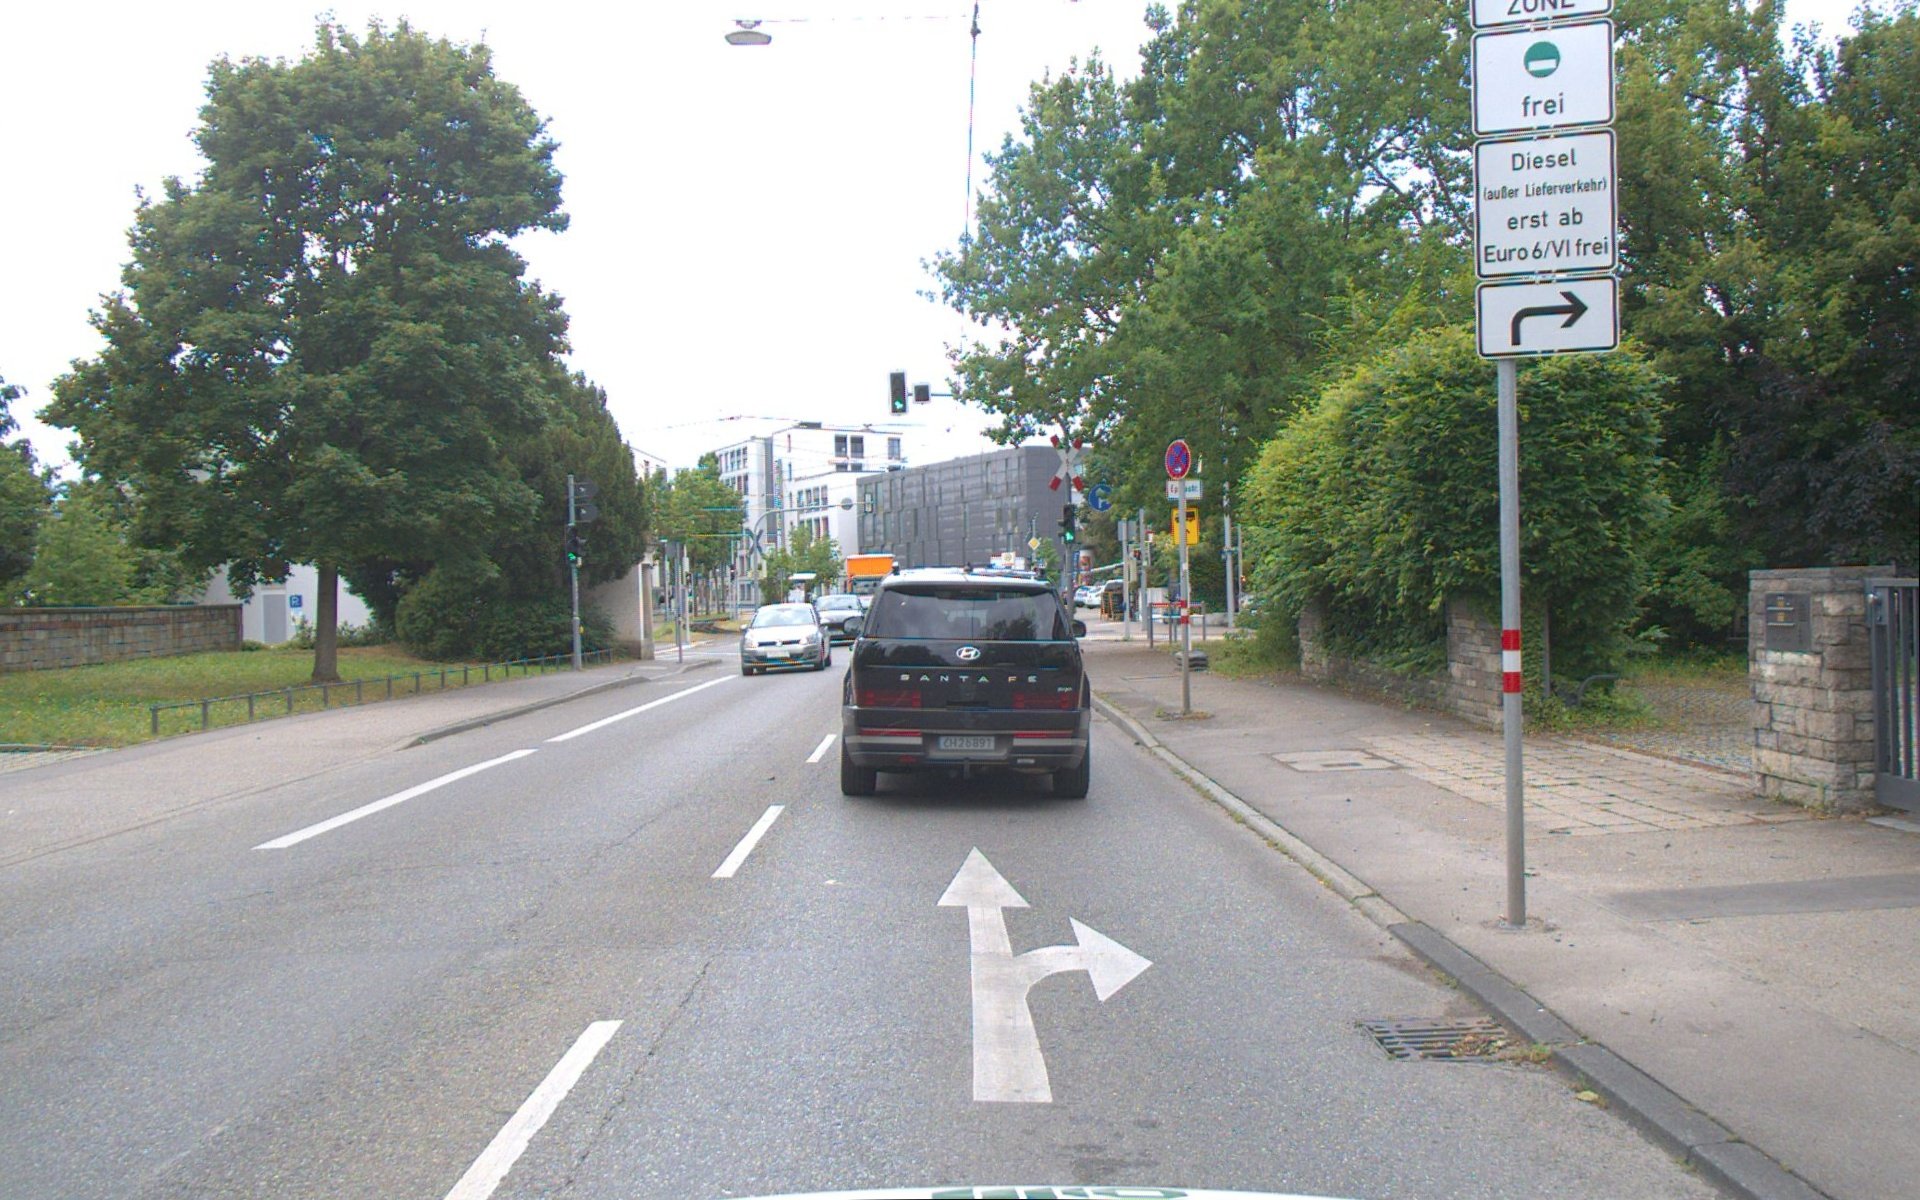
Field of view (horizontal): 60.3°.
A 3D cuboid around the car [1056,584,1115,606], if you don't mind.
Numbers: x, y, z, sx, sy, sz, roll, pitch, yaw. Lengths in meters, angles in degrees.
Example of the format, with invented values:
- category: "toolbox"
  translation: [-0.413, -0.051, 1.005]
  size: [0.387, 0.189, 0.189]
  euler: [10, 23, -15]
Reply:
- category: "car"
  translation: [8.770, -0.349, 115.544]
  size: [3.744, 1.499, 1.783]
  euler: [0, -1, -26]

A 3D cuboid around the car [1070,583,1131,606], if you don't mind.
- category: "car"
  translation: [9.331, -0.365, 110.151]
  size: [3.752, 1.499, 1.779]
  euler: [0, -1, -31]

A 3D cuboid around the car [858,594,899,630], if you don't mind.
- category: "car"
  translation: [-3.483, 0.484, 71.283]
  size: [1.630, 1.474, 3.826]
  euler: [-2, 0, -1]

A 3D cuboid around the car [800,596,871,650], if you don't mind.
- category: "car"
  translation: [-4.034, 0.724, 54.221]
  size: [1.900, 1.558, 4.526]
  euler: [-4, 0, -1]

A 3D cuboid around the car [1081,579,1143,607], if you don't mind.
- category: "car"
  translation: [9.579, -0.440, 104.096]
  size: [3.597, 1.460, 1.577]
  euler: [-4, 0, -28]

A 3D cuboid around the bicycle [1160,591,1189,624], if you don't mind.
- category: "bicycle"
  translation: [8.576, 0.293, 66.107]
  size: [0.538, 1.158, 1.873]
  euler: [-1, 4, -13]

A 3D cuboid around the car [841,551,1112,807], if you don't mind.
- category: "car"
  translation: [0.019, 0.524, 13.518]
  size: [1.877, 1.755, 4.168]
  euler: [0, 0, -3]

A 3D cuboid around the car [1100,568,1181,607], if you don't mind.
- category: "car"
  translation: [8.992, -0.628, 82.099]
  size: [1.815, 1.779, 4.677]
  euler: [-2, 1, 37]

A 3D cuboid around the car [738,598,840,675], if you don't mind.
- category: "car"
  translation: [-3.682, 0.750, 36.250]
  size: [1.690, 1.488, 4.154]
  euler: [-2, 0, 1]

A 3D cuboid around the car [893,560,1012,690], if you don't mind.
- category: "car"
  translation: [-0.210, 0.382, 29.561]
  size: [1.819, 2.069, 4.434]
  euler: [-2, 1, -3]

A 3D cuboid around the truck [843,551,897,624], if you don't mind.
- category: "truck"
  translation: [-4.972, -0.700, 92.726]
  size: [2.713, 3.783, 8.465]
  euler: [-3, 0, -2]

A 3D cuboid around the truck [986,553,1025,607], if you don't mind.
- category: "truck"
  translation: [3.177, -1.402, 116.216]
  size: [2.520, 3.586, 7.811]
  euler: [-2, 1, 1]
